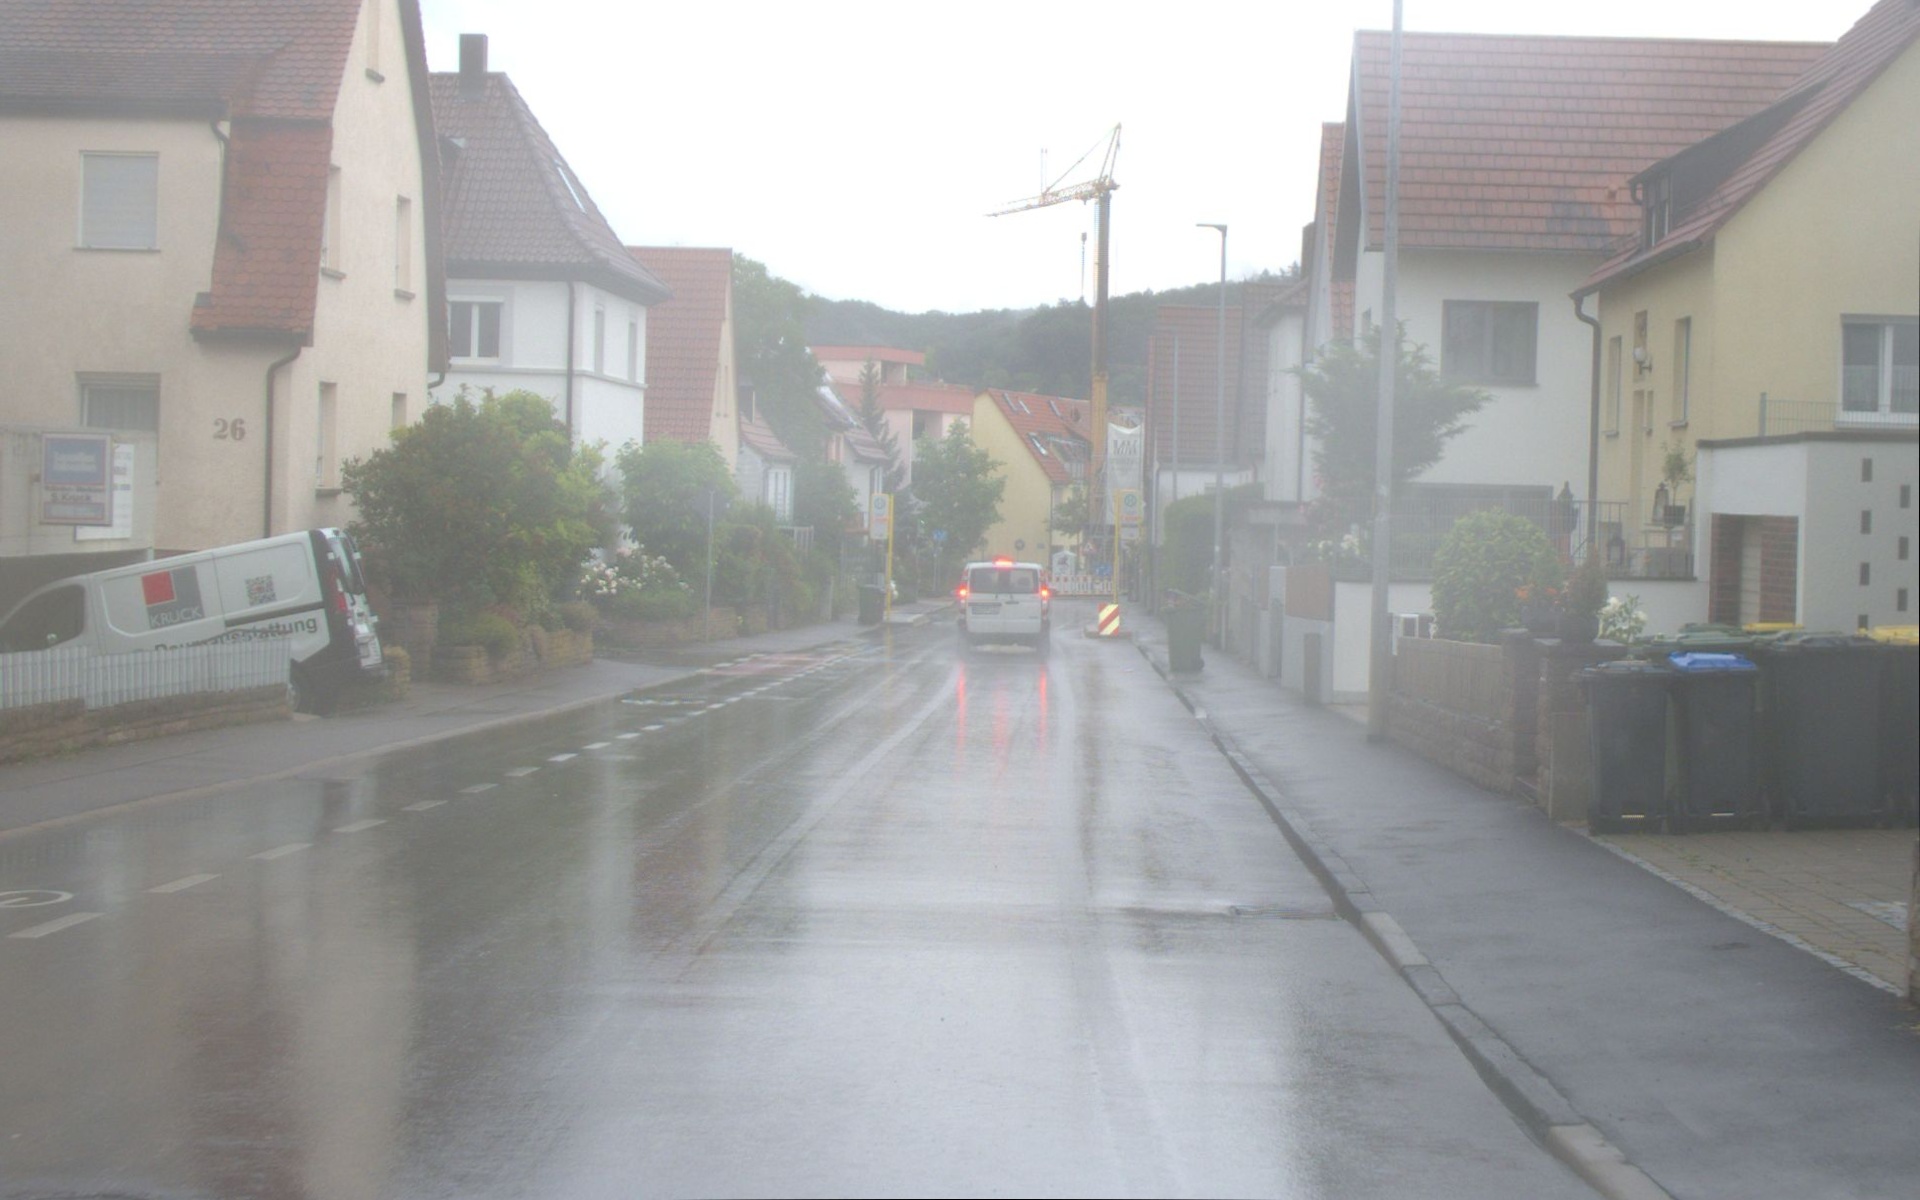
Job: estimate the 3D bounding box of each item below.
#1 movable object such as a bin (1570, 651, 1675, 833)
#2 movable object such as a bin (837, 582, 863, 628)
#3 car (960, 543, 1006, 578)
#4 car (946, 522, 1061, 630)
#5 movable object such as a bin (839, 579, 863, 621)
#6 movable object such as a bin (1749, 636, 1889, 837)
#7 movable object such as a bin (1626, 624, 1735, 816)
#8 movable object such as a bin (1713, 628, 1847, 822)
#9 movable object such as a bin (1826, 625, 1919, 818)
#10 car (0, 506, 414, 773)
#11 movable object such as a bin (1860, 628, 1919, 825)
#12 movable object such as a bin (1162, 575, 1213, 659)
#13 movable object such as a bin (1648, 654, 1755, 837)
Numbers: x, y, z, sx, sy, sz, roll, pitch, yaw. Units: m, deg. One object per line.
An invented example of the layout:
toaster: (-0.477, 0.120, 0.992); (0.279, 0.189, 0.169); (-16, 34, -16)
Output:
movable object such as a bin: (3.641, 0.776, 18.909); (0.424, 0.937, 0.508); (3, 3, 0)
movable object such as a bin: (-3.313, 0.138, 103.545); (0.682, 1.318, 0.639); (3, 3, -3)
car: (1.205, -2.061, 179.111); (1.842, 1.573, 4.289); (3, 3, 7)
car: (0.927, -0.528, 69.996); (2.117, 1.881, 4.502); (3, 3, 2)
movable object such as a bin: (-3.307, 0.005, 104.326); (0.682, 1.219, 0.639); (3, 3, -3)
movable object such as a bin: (4.711, 0.740, 18.879); (0.544, 1.024, 0.632); (3, 3, 0)
movable object such as a bin: (4.091, 0.674, 19.553); (0.424, 1.024, 0.632); (3, 3, 0)
movable object such as a bin: (4.661, 0.705, 19.567); (0.544, 1.024, 0.632); (3, 3, 0)
movable object such as a bin: (5.312, 0.688, 19.565); (0.544, 1.024, 0.632); (3, 3, 0)
car: (-8.304, 0.430, 35.879); (4.554, 2.006, 2.160); (-10, 3, 2)
movable object such as a bin: (5.321, 0.695, 18.886); (0.528, 1.024, 0.632); (3, 3, 0)
movable object such as a bin: (3.608, 0.263, 54.585); (0.745, 1.274, 0.882); (1, 3, 2)
movable object such as a bin: (4.068, 0.794, 18.882); (0.424, 0.937, 0.508); (3, 3, 0)
